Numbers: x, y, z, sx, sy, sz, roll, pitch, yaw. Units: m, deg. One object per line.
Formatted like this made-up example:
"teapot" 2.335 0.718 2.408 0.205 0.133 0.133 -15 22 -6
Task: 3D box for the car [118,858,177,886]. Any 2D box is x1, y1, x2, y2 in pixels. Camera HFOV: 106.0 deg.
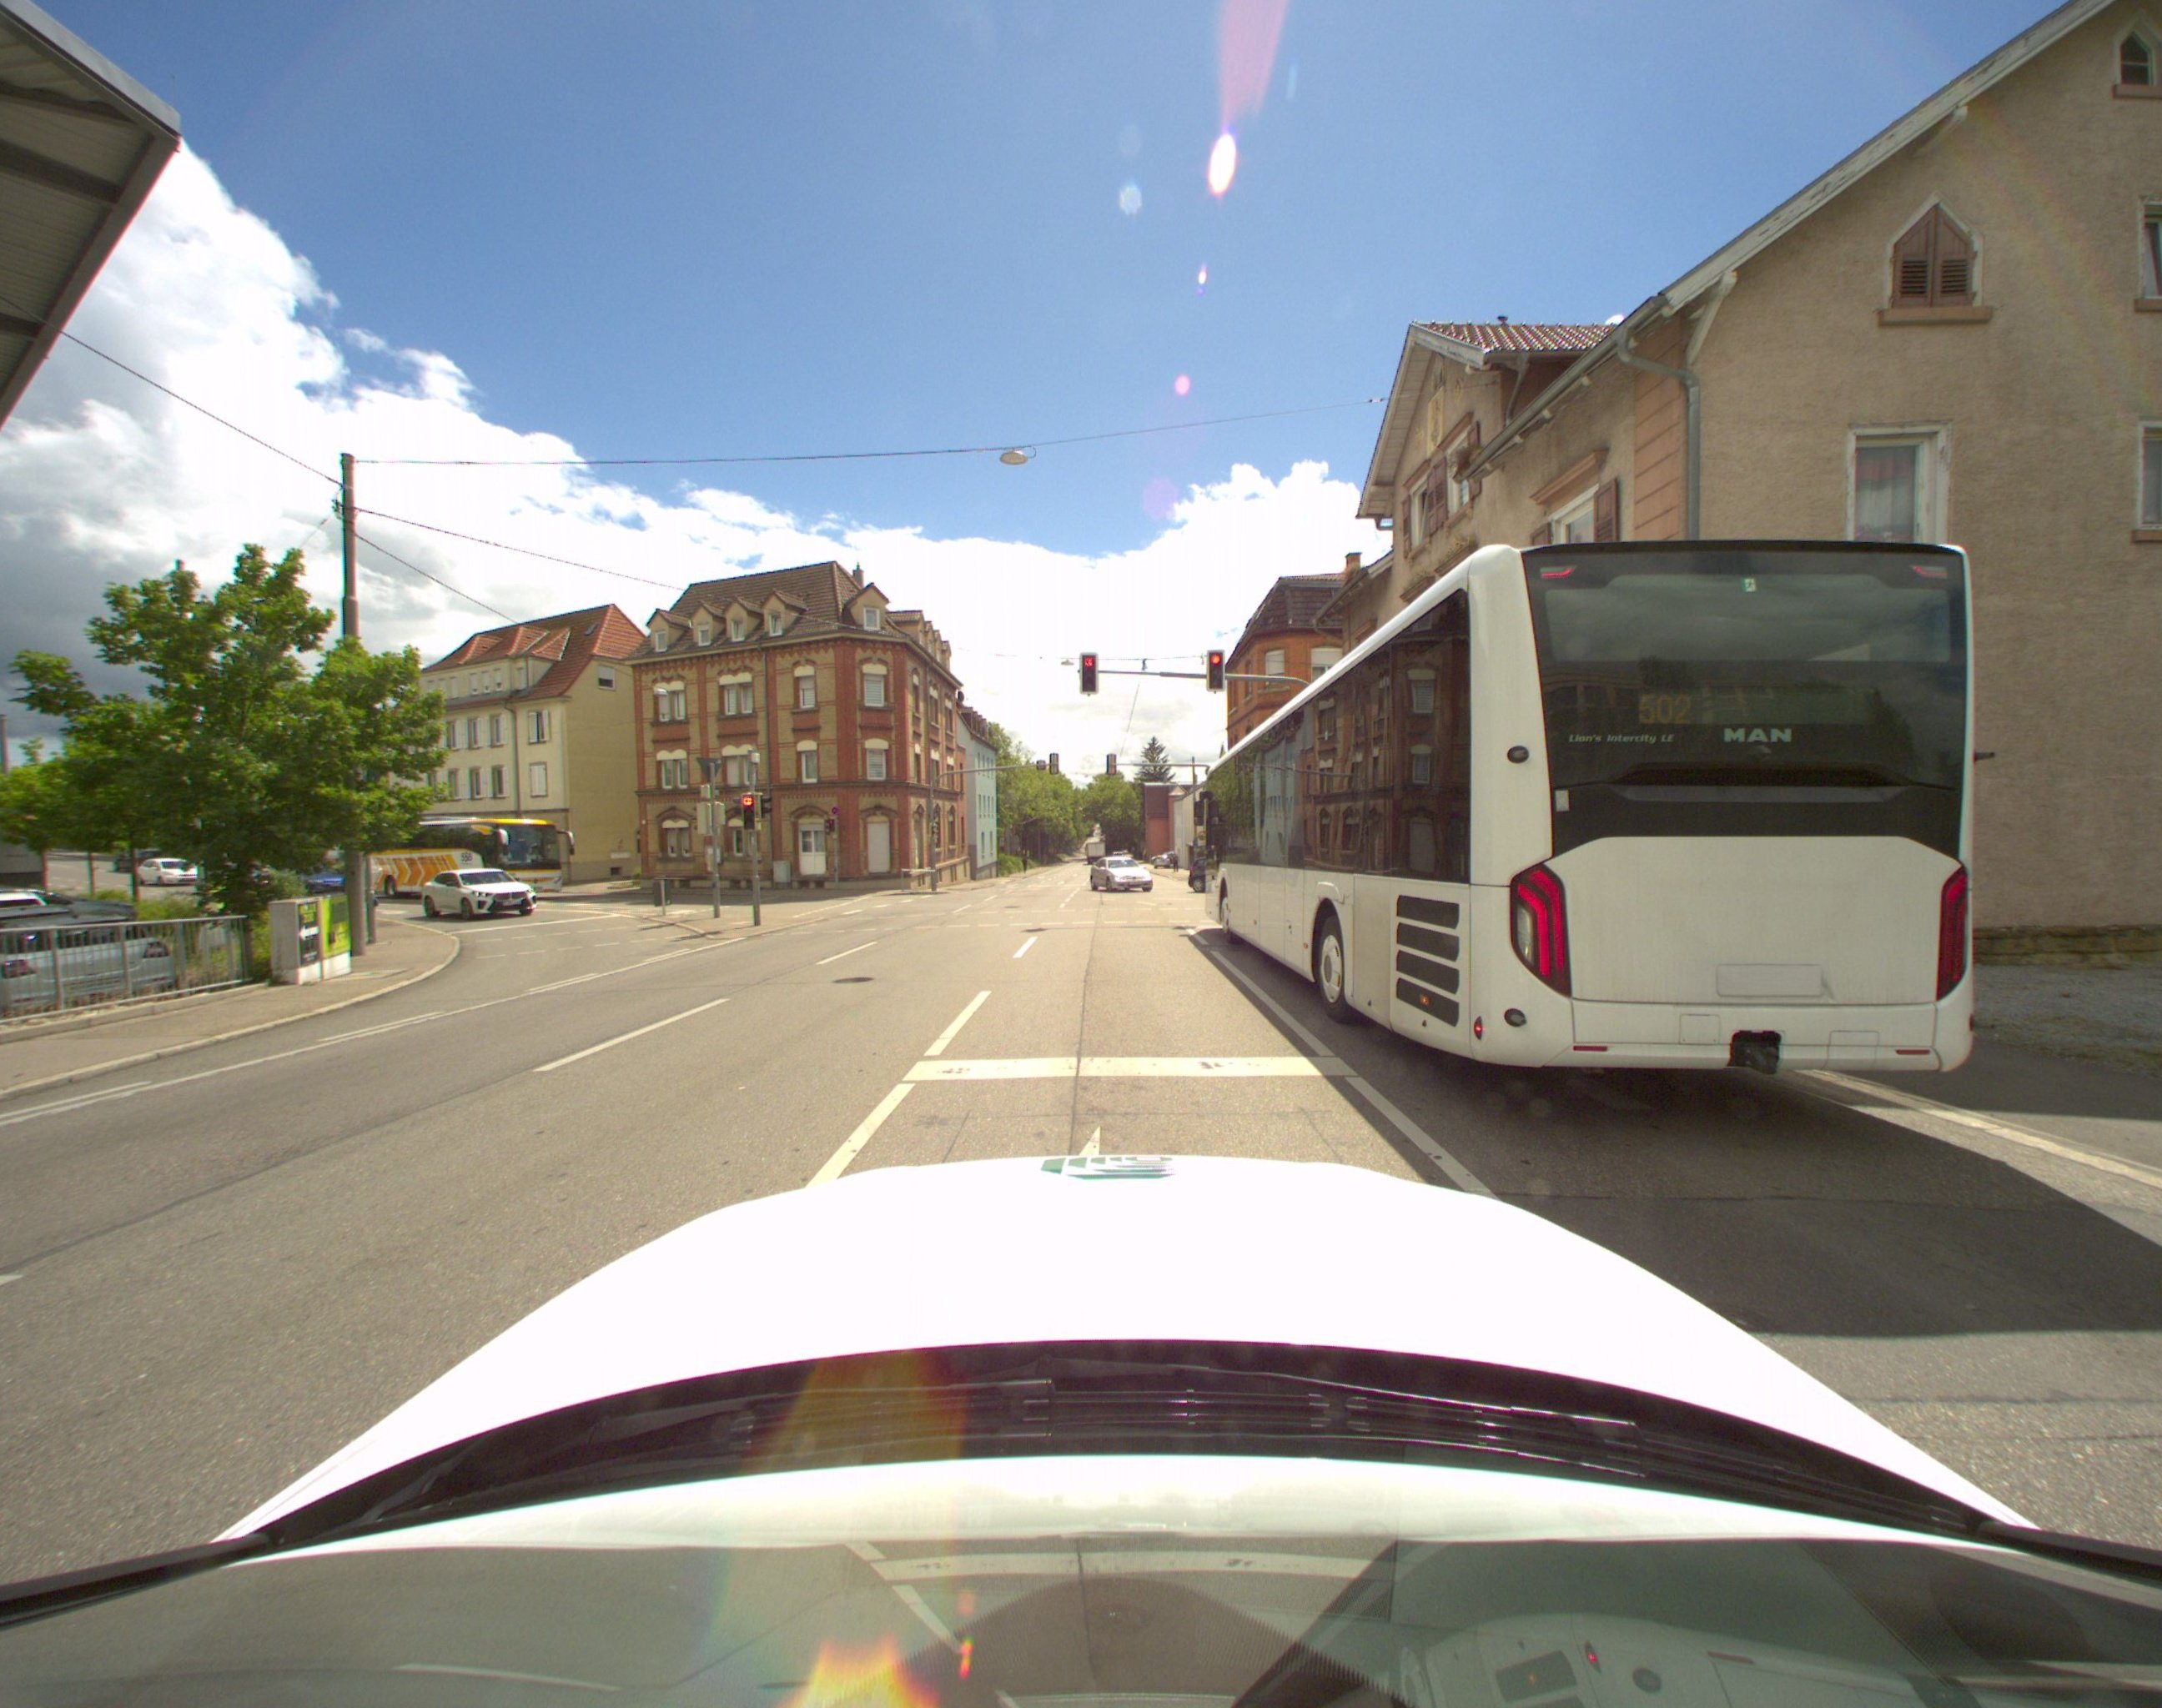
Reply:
"car" -62.890 1.241 54.877 3.949 1.750 1.837 -2 0 30

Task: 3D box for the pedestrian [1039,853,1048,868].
"pedestrian" -5.098 0.872 111.138 0.991 2.013 1.189 -2 0 1

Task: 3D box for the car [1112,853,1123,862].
"car" 5.852 0.627 130.246 1.787 1.409 4.002 -1 0 2

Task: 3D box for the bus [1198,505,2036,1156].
"bus" 3.497 -0.130 10.197 2.662 3.155 12.467 0 0 2

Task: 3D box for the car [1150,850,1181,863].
"car" 11.783 0.363 113.992 3.978 1.757 1.998 -2 0 -3

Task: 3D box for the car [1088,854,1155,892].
"car" 1.585 0.749 33.493 1.701 1.427 3.981 -2 0 -13

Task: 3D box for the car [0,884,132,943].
"car" -29.499 1.681 22.831 1.777 1.477 3.522 -2 0 32

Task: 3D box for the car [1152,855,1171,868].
"car" 9.245 0.874 93.935 1.788 1.409 4.000 -2 0 1

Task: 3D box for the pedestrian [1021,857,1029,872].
"pedestrian" -5.727 1.065 83.951 0.727 1.565 0.561 -1 0 0

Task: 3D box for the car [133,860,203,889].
"car" -53.785 1.206 47.952 3.949 1.553 1.923 -2 0 29

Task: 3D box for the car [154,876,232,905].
"car" -47.653 1.952 43.717 3.949 1.409 1.923 -2 0 29

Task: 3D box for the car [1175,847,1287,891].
"car" 5.707 0.578 31.002 3.744 1.516 1.776 -2 0 33

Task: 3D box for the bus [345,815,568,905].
"bus" -28.133 0.193 36.417 12.111 3.621 2.788 0 1 26

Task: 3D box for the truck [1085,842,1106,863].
"truck" 2.157 -0.227 123.092 2.917 3.081 7.883 -2 0 0

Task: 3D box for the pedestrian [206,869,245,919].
"pedestrian" -31.089 1.443 29.585 1.129 1.734 0.764 -2 0 34

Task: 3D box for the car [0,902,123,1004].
"car" -19.559 1.767 15.099 3.455 1.526 1.626 -1 2 29

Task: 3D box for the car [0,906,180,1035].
"car" -16.074 1.730 12.988 3.321 1.560 1.693 0 2 32

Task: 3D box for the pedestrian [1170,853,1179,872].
"pedestrian" 8.692 0.817 75.779 0.736 1.750 0.619 -2 0 1

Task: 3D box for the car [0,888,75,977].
"car" -23.342 1.660 17.440 3.455 1.680 1.663 -1 2 30

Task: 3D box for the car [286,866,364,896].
"car" -39.106 1.404 42.106 3.949 1.409 1.762 -2 0 28

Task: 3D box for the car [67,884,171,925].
"car" -37.436 1.933 31.706 3.456 1.448 1.811 -2 0 26

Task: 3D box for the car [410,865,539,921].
"car" -20.055 1.306 26.892 4.250 1.551 1.846 -3 2 31

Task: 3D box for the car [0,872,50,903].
"car" -59.435 1.885 45.182 3.951 1.596 1.869 -2 0 25
